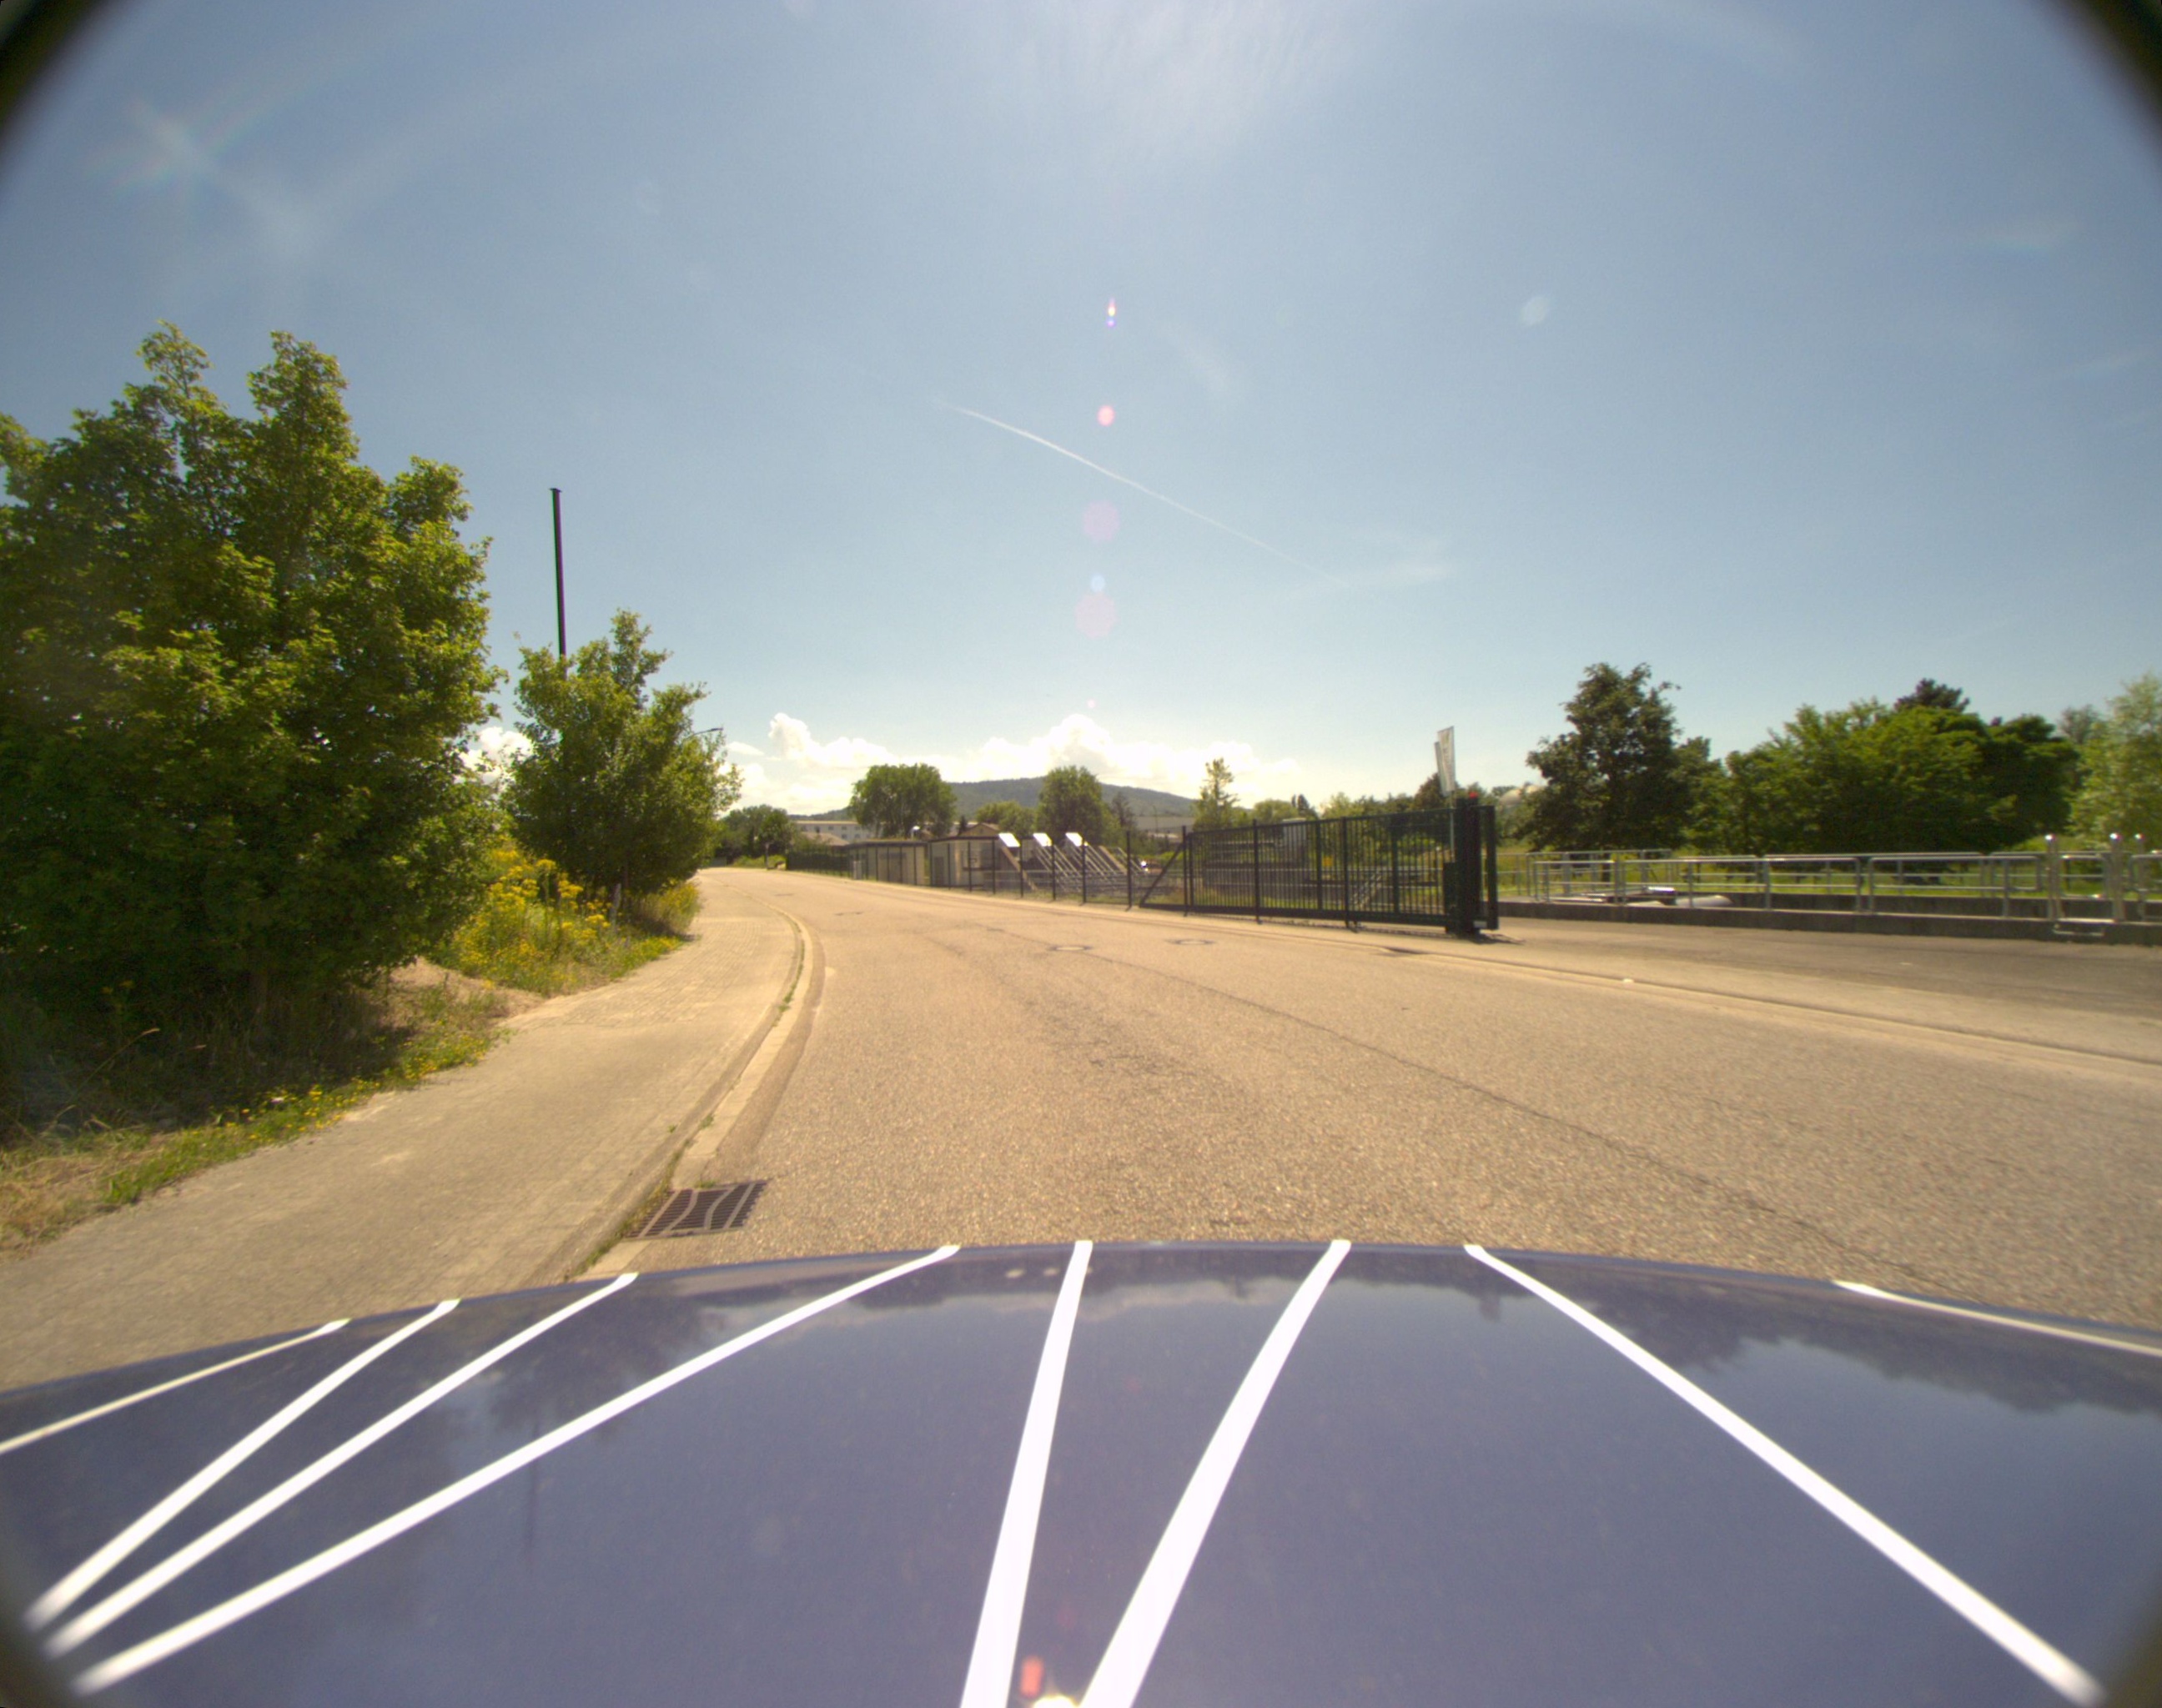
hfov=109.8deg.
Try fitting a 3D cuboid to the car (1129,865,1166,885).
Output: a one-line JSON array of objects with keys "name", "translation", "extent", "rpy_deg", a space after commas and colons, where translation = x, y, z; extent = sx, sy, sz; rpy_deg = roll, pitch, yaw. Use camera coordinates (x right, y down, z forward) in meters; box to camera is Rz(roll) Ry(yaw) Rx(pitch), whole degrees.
[{"name": "car", "translation": [5.681, 1.810, 65.540], "extent": [1.801, 1.608, 3.995], "rpy_deg": [-1, 0, -17]}]
